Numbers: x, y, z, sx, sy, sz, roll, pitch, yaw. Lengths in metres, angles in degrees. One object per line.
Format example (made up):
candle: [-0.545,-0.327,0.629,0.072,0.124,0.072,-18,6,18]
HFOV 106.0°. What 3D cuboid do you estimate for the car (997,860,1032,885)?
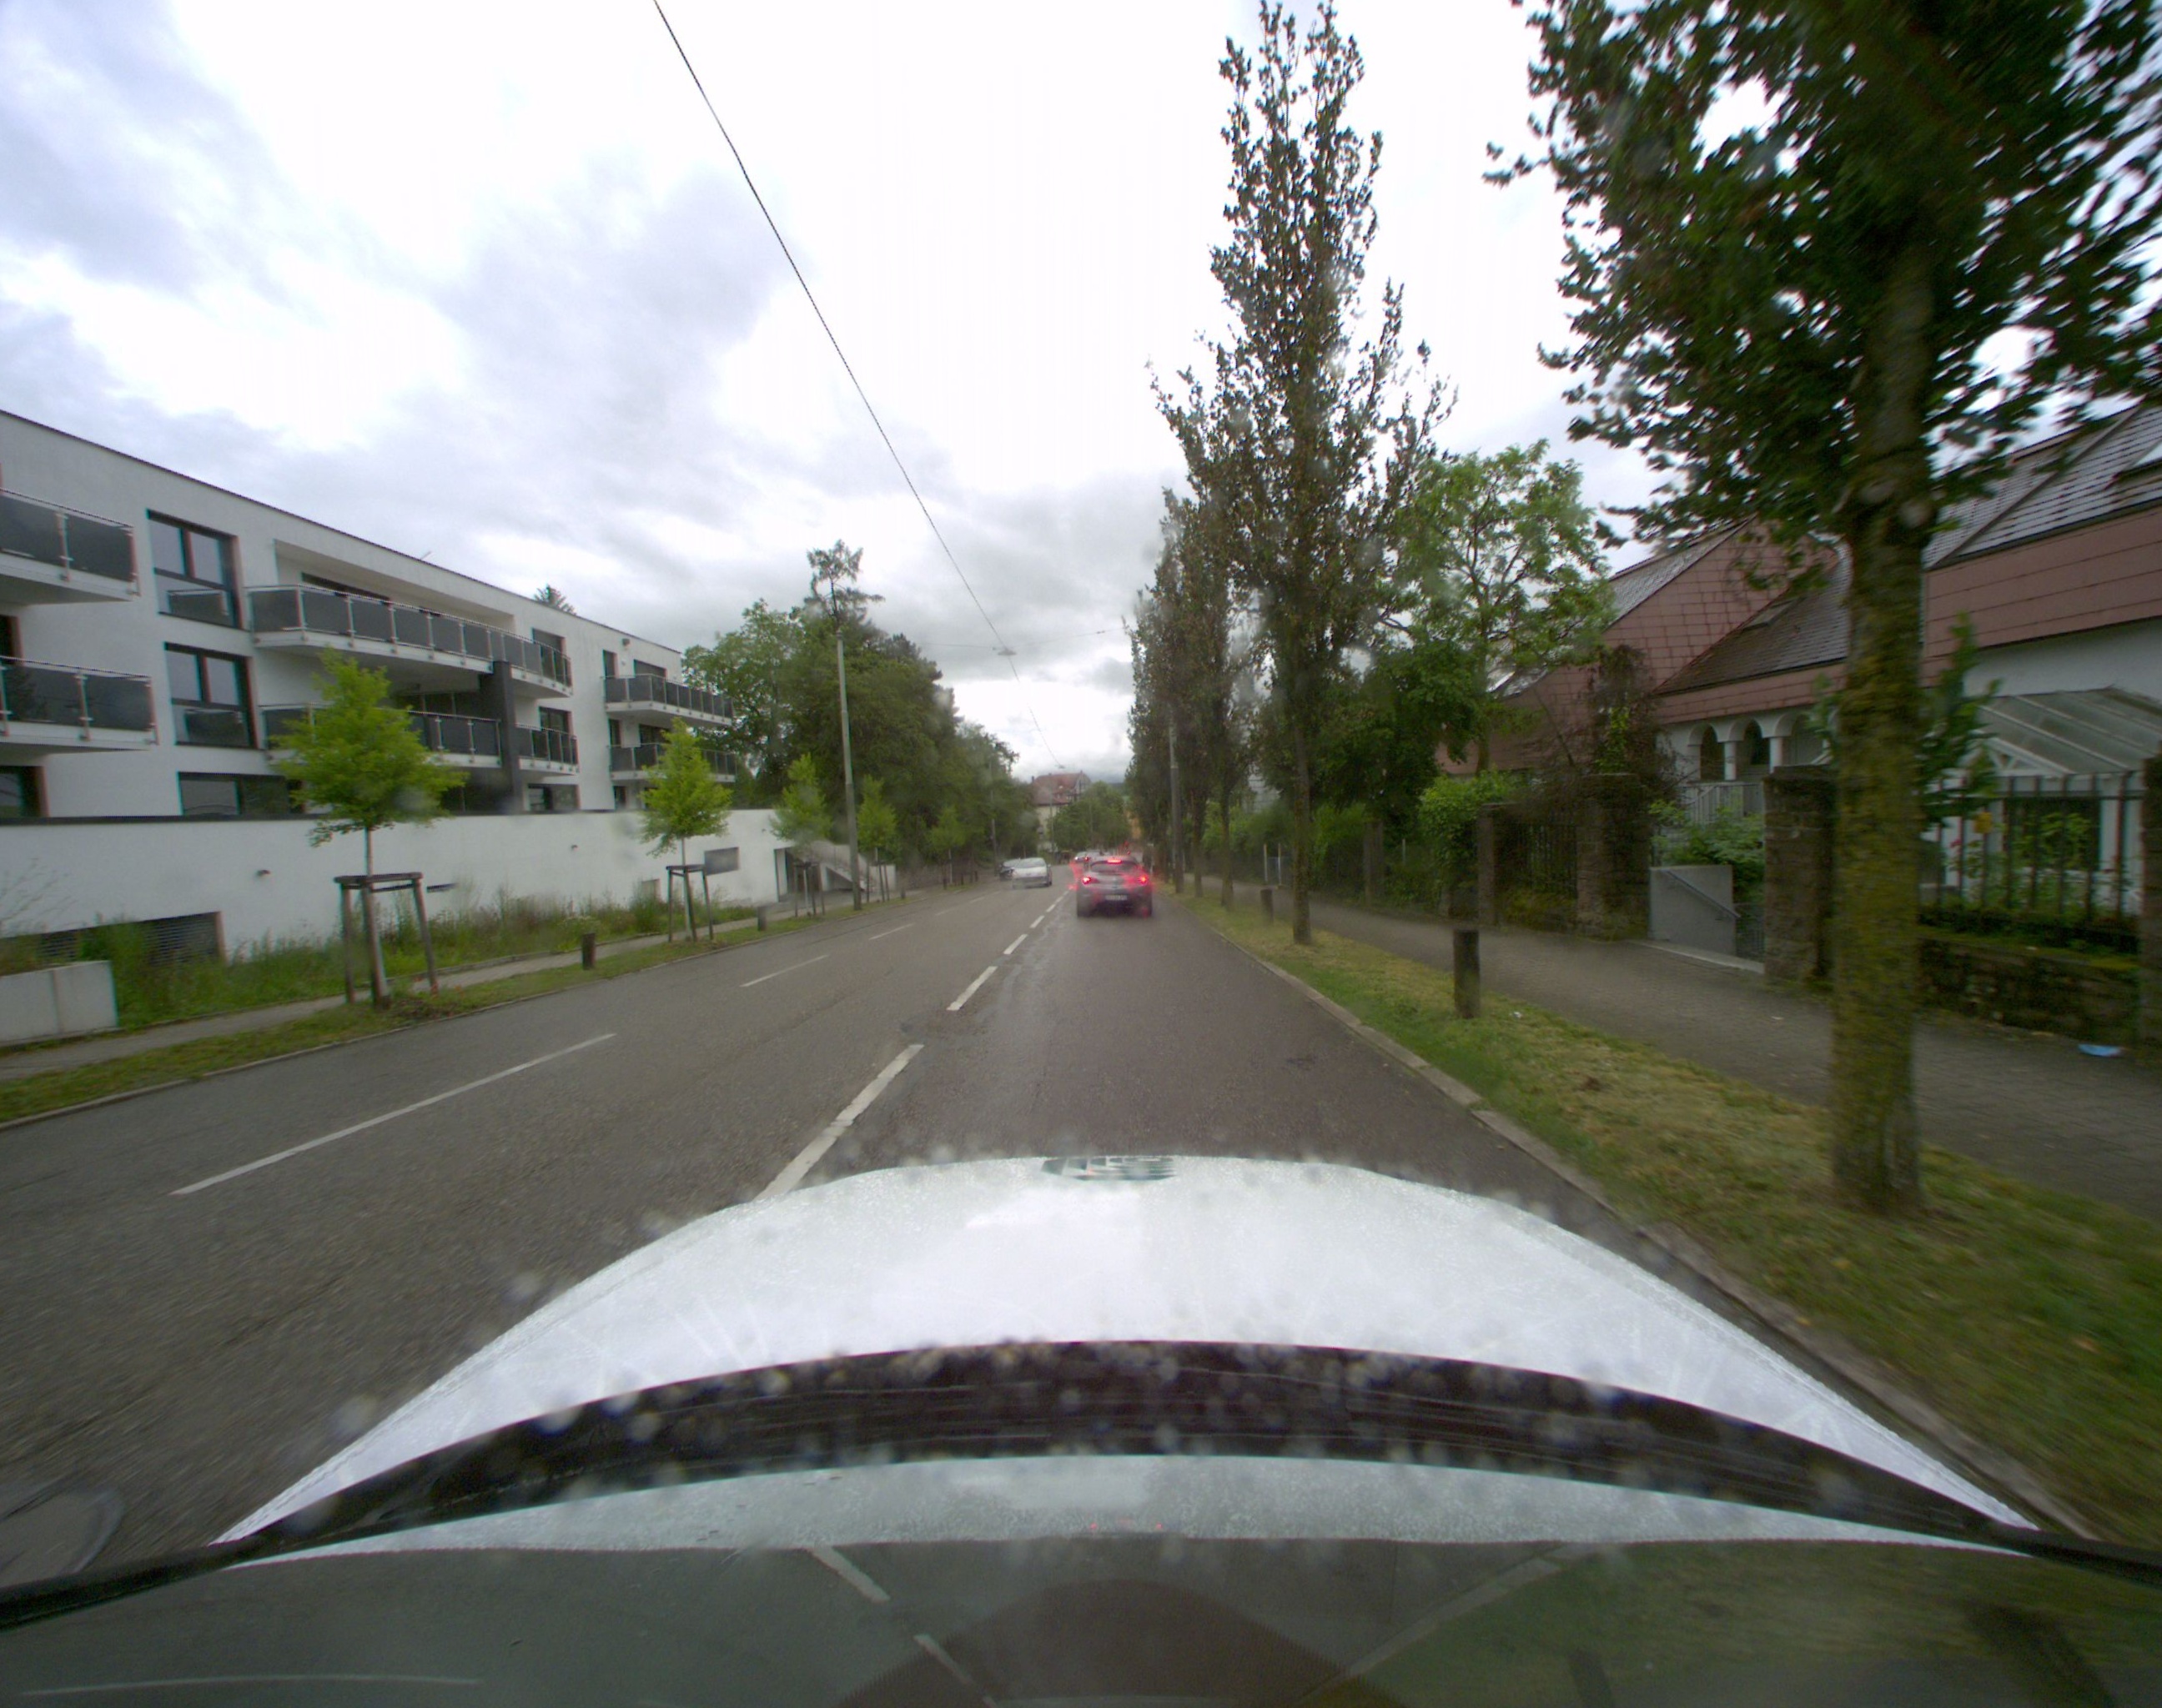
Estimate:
car: [-4.613,1.270,57.029,1.738,1.549,3.922,-6,0,4]

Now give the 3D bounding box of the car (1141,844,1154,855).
car: [13.849,-0.962,170.229,2.320,2.036,4.748,0,1,9]

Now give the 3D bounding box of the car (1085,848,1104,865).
car: [1.507,0.259,89.925,1.759,1.781,3.985,0,1,7]

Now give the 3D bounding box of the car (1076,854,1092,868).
car: [0.375,0.856,104.528,1.757,1.486,3.805,-5,1,4]

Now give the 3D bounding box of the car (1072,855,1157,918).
car: [0.844,0.753,20.854,1.938,1.432,3.885,-1,0,2]

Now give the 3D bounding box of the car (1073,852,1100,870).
car: [0.553,0.617,72.602,1.950,1.472,3.959,0,1,7]

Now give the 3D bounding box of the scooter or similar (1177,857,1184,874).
scooter or similar: [7.524,0.849,61.476,0.341,1.254,1.267,0,-1,0]

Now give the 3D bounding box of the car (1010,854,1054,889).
car: [-2.322,0.822,39.445,1.756,1.486,3.999,-4,0,0]

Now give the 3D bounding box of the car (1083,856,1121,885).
car: [1.152,0.834,42.747,1.790,1.323,4.004,-2,0,3]

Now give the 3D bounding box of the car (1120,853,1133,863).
car: [7.059,0.612,126.994,1.745,1.651,4.008,0,0,7]
